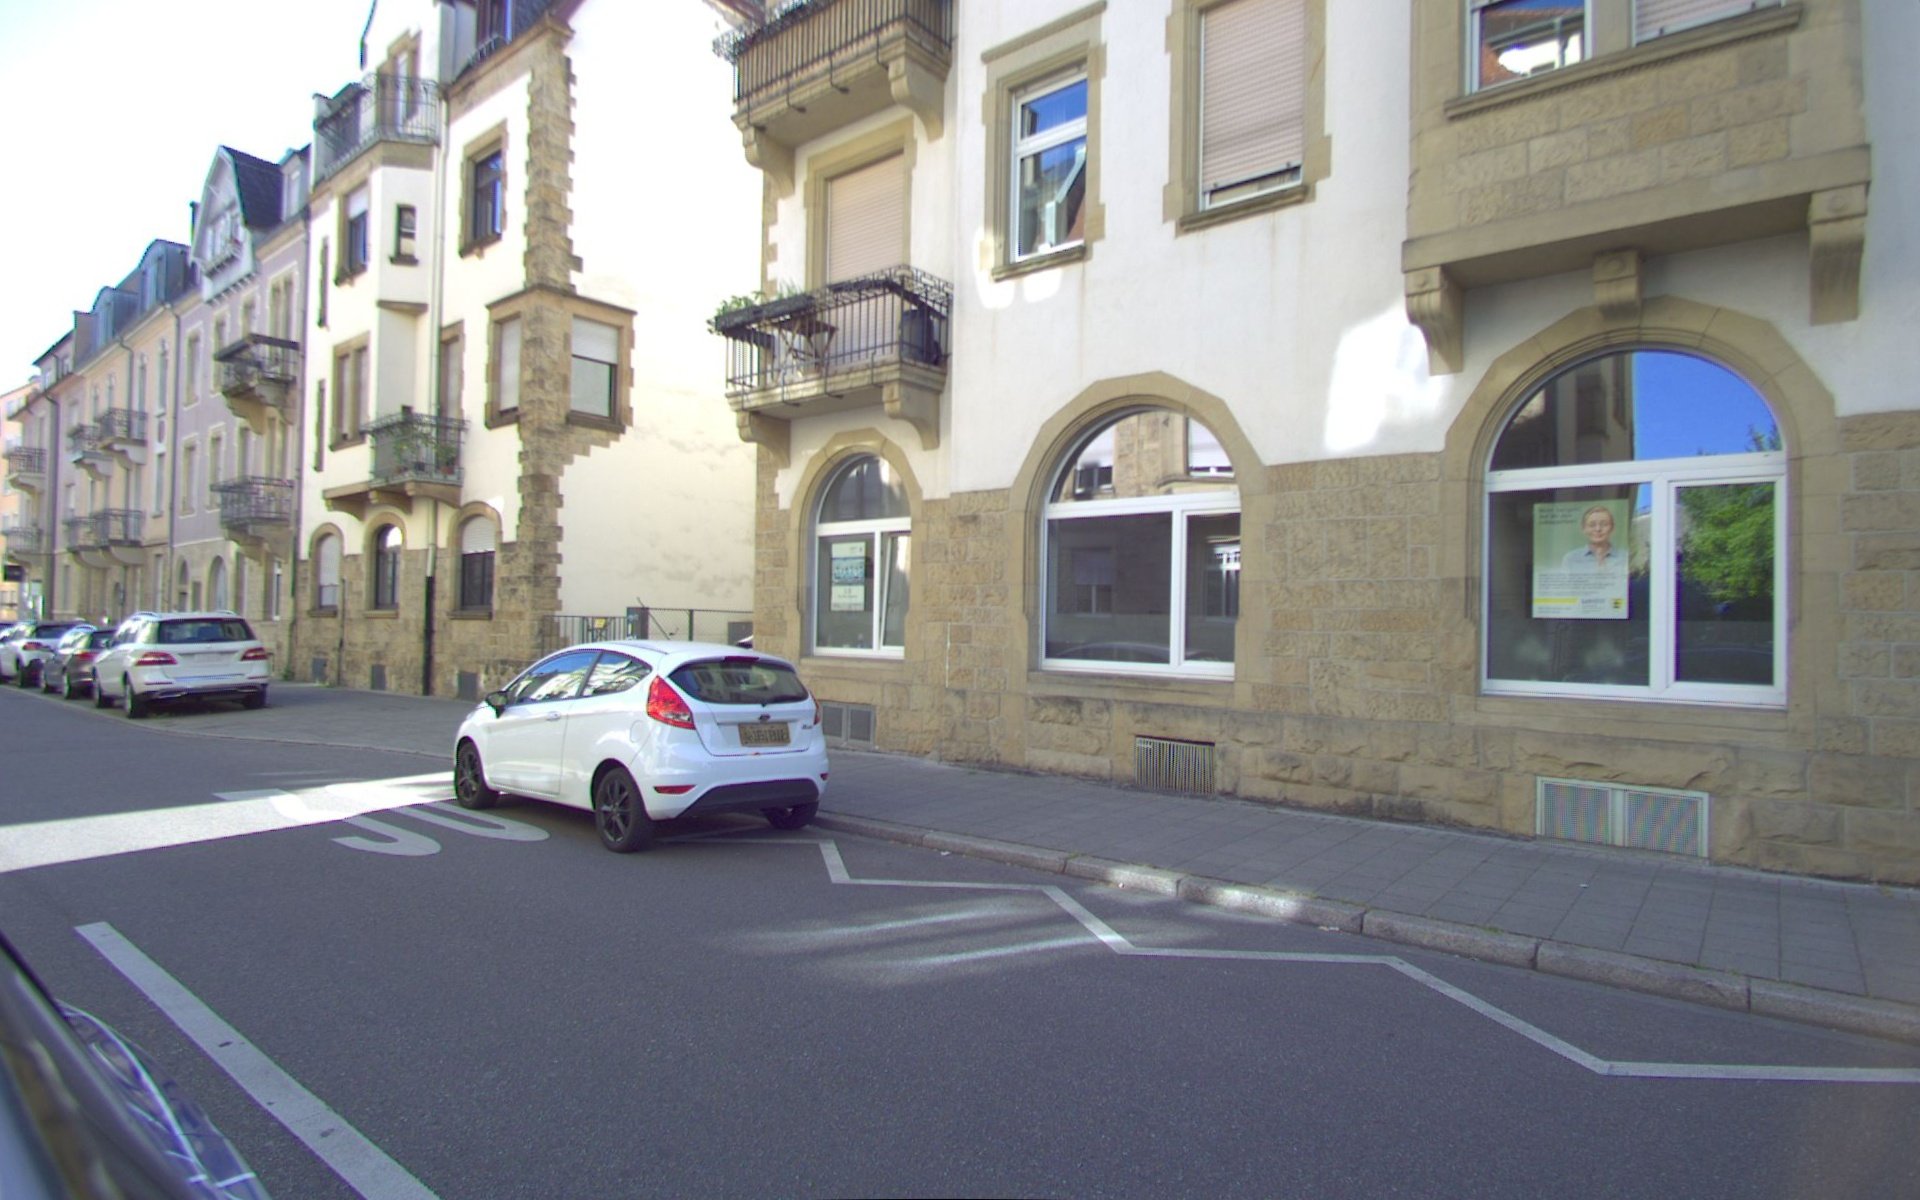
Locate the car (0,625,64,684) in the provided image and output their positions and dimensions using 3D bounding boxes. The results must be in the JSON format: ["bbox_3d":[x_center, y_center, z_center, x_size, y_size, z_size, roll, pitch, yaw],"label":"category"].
[{"bbox_3d":[-27.148,1.506,28.877,4.317,1.511,1.833,-1,0,41],"label":"car"}]

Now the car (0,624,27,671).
[{"bbox_3d":[-33.131,1.595,34.226,4.319,1.520,1.866,-1,0,41],"label":"car"}]

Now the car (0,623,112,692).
[{"bbox_3d":[-22.940,1.373,25.437,4.319,1.520,1.866,-1,0,41],"label":"car"}]

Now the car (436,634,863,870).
[{"bbox_3d":[-2.631,1.038,8.181,3.642,1.469,1.634,-2,-5,42],"label":"car"}]

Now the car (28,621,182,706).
[{"bbox_3d":[-18.437,1.280,21.755,4.319,1.519,1.866,-1,2,41],"label":"car"}]

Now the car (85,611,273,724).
[{"bbox_3d":[-13.972,1.090,18.024,4.209,1.740,1.866,-1,0,41],"label":"car"}]
